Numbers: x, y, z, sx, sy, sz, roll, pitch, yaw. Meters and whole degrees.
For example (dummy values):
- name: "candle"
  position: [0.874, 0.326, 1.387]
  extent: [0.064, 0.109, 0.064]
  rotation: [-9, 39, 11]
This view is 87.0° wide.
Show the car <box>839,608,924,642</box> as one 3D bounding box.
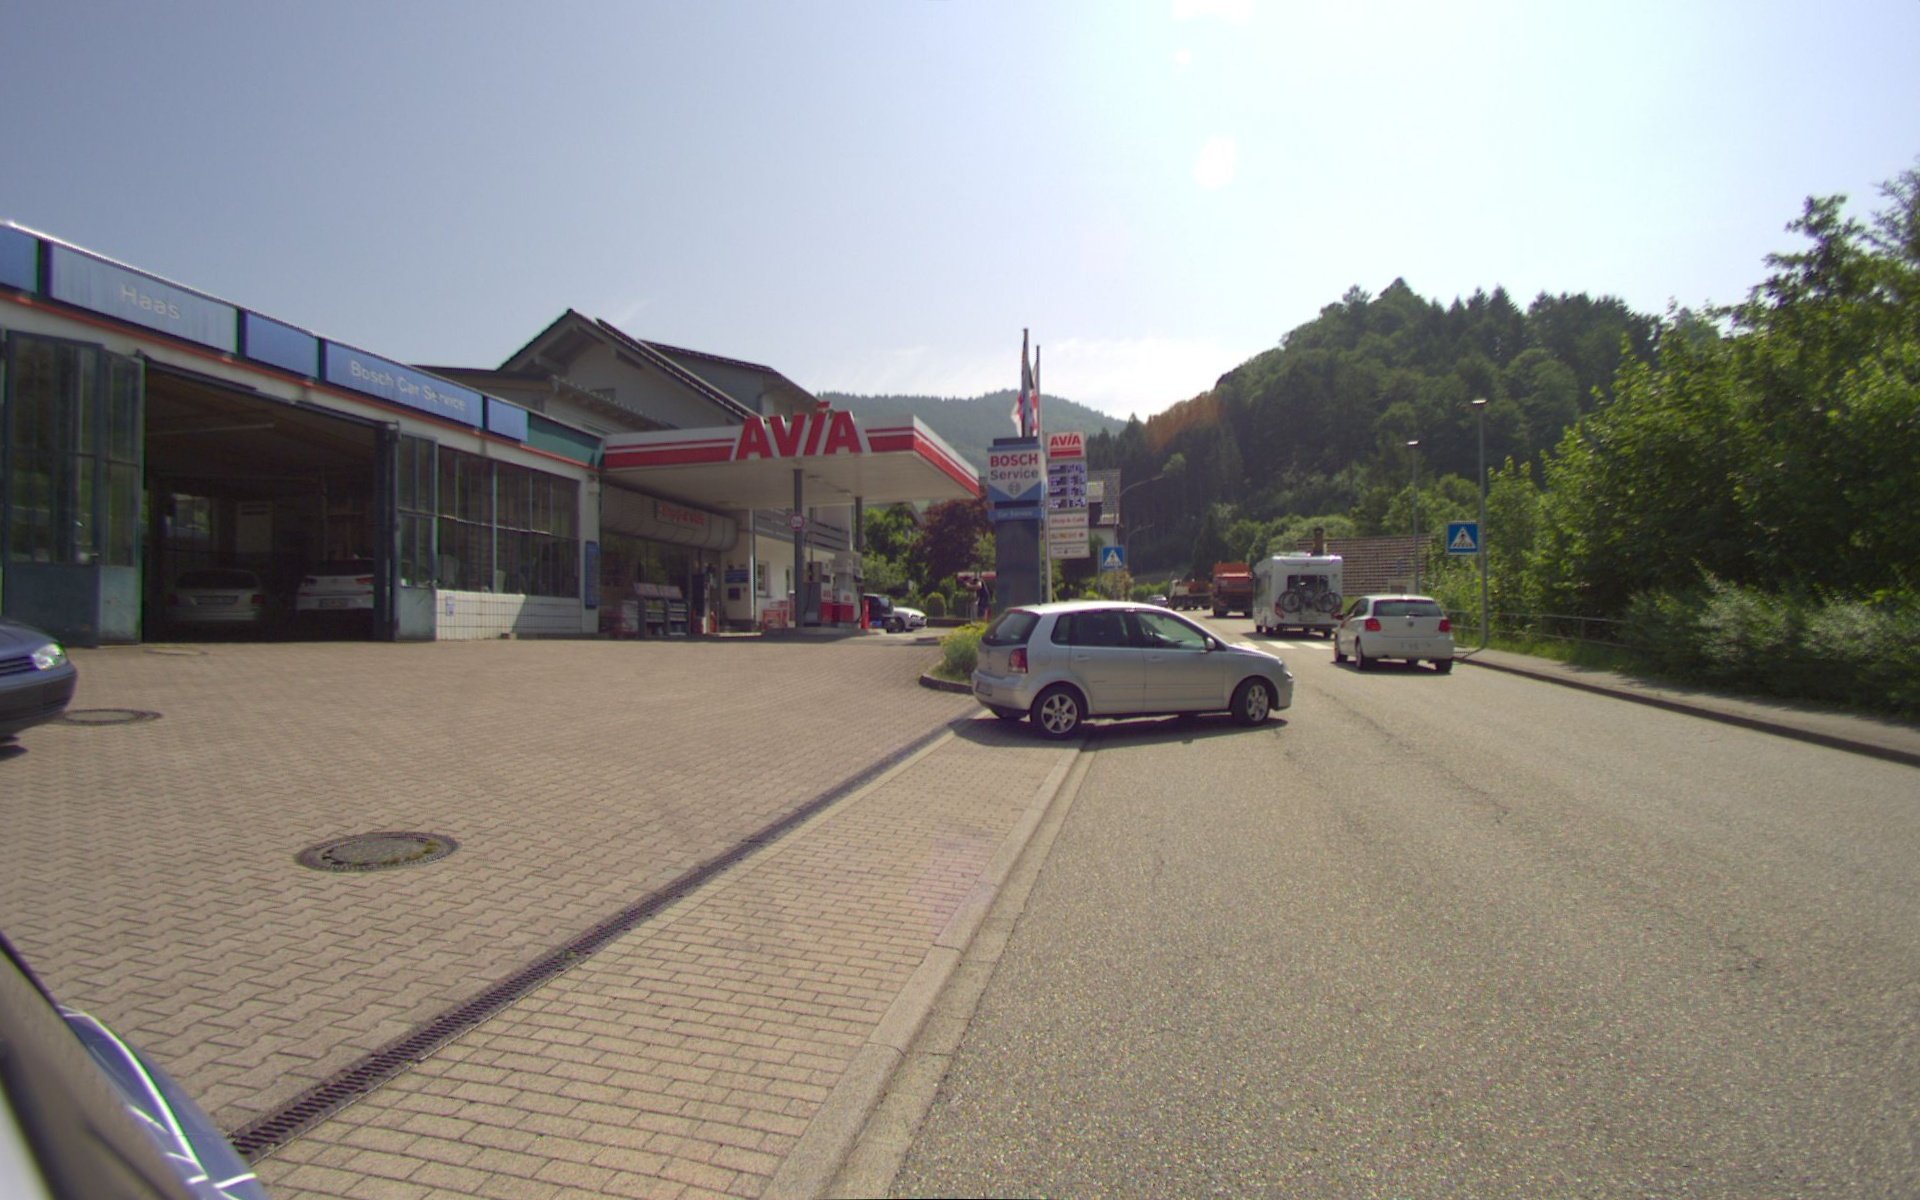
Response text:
- name: "car"
  position: [-3.063, 0.975, 39.535]
  extent: [3.050, 1.153, 1.330]
  rotation: [3, 1, 11]

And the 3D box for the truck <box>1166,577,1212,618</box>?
- name: "truck"
  position: [21.210, -0.224, 94.276]
  extent: [2.616, 3.609, 7.770]
  rotation: [1, 0, 1]

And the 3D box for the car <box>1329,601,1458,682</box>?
- name: "car"
  position: [8.553, 0.745, 20.272]
  extent: [1.593, 1.416, 3.813]
  rotation: [1, 0, 11]

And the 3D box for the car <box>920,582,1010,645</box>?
- name: "car"
  position: [0.214, 0.343, 28.493]
  extent: [1.680, 1.589, 3.895]
  rotation: [2, 1, 13]

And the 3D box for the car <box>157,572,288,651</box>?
- name: "car"
  position: [-14.631, 0.298, 20.243]
  extent: [1.522, 1.417, 3.489]
  rotation: [1, -4, -27]

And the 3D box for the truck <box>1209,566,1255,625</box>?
- name: "truck"
  position: [17.949, -0.287, 67.144]
  extent: [2.626, 3.609, 8.160]
  rotation: [1, 0, 13]

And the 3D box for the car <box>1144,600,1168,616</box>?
- name: "car"
  position: [20.587, 0.857, 106.496]
  extent: [1.764, 1.586, 3.597]
  rotation: [2, 1, 1]

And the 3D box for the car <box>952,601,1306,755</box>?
- name: "car"
  position: [1.924, 0.809, 11.787]
  extent: [3.693, 1.493, 1.600]
  rotation: [-1, 1, -16]

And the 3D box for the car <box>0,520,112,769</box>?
- name: "car"
  position: [-8.095, 0.186, 6.290]
  extent: [4.276, 1.556, 1.798]
  rotation: [3, 1, 4]

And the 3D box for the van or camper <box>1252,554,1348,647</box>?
- name: "van or camper"
  position: [12.070, 0.070, 36.565]
  extent: [2.341, 2.975, 8.020]
  rotation: [0, -1, 12]

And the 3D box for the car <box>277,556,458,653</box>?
- name: "car"
  position: [-11.727, 0.063, 20.341]
  extent: [1.581, 1.700, 3.935]
  rotation: [2, 1, -5]
